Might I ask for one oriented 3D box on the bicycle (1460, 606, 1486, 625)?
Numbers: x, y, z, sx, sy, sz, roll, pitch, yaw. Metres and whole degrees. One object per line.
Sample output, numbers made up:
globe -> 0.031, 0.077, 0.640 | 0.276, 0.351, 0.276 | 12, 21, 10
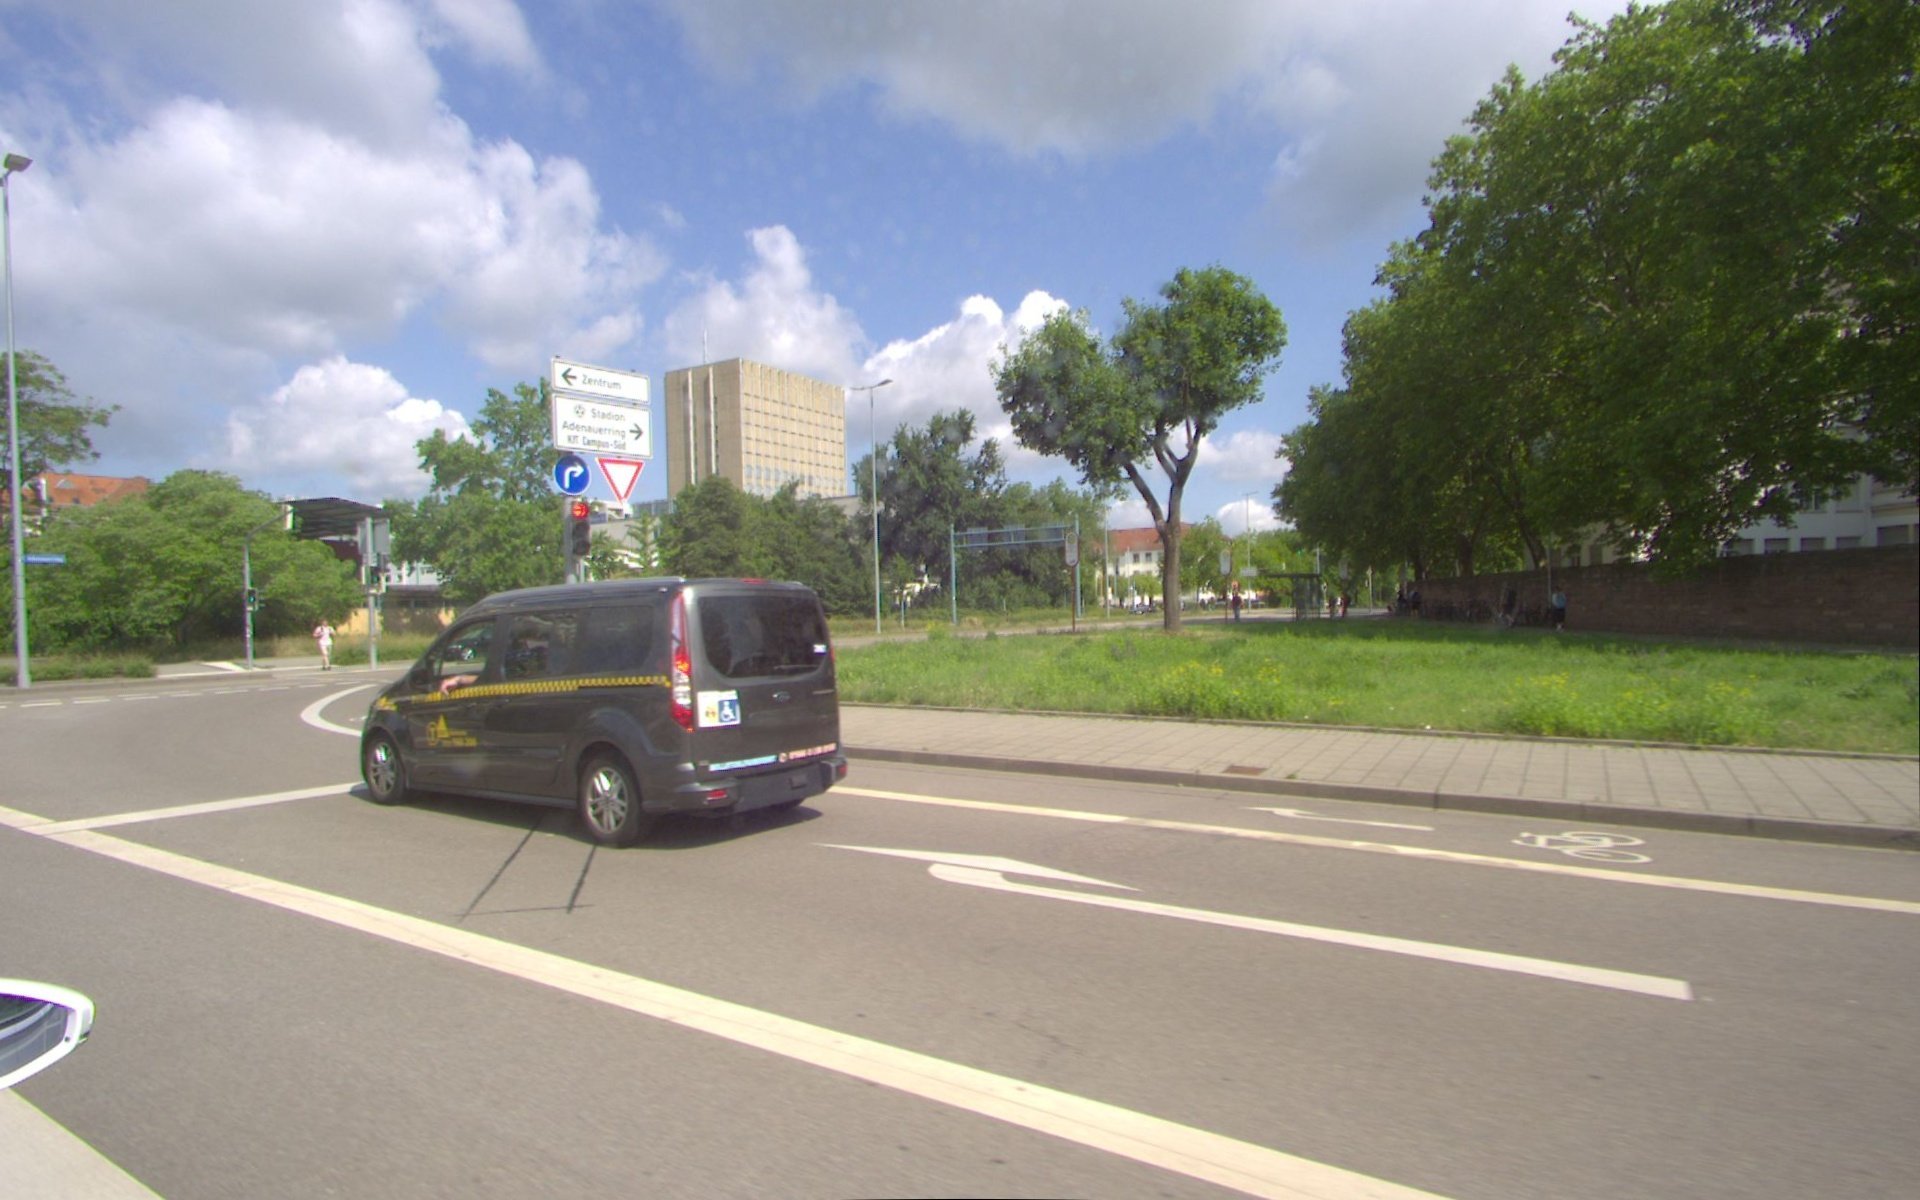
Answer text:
bicycle -> 23.923, 0.725, 46.685 | 0.955, 0.860, 0.482 | -1, 1, 11

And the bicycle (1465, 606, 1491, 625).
bicycle -> 23.822, 0.701, 46.041 | 0.955, 0.860, 0.482 | -1, 1, 11

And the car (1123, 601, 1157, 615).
car -> 17.950, 0.831, 99.673 | 1.774, 1.289, 3.973 | -1, 0, 36

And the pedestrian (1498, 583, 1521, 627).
pedestrian -> 21.996, 0.191, 40.090 | 0.651, 1.746, 0.742 | -1, 1, 13

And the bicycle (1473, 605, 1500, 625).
bicycle -> 23.556, 0.654, 44.826 | 0.955, 0.860, 0.482 | -1, 1, 11

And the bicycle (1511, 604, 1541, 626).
bicycle -> 22.756, 0.597, 40.273 | 0.955, 0.860, 0.482 | -1, 1, 11

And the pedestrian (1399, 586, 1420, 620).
pedestrian -> 24.152, 0.155, 53.808 | 0.871, 1.804, 0.769 | -1, 1, 17

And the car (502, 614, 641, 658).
car -> -15.296, 1.397, 39.620 | 2.037, 1.460, 4.747 | -4, -2, 37

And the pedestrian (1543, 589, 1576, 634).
pedestrian -> 21.551, 0.415, 36.009 | 0.712, 1.554, 0.724 | -2, 0, 4

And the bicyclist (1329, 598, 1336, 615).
bicyclist -> 33.339, 0.576, 89.653 | 0.552, 1.433, 0.604 | -1, 1, 28

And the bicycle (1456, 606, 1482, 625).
bicycle -> 24.006, 0.745, 47.234 | 0.955, 0.860, 0.482 | -1, 1, 11

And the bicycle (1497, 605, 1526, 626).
bicycle -> 22.912, 0.645, 41.585 | 0.955, 0.860, 0.482 | -1, 1, 11

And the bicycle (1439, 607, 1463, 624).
bicycle -> 24.565, 0.782, 50.100 | 0.955, 0.860, 0.482 | -1, 1, 11

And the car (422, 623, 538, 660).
car -> -20.940, 1.762, 43.803 | 1.972, 1.395, 4.135 | 0, 0, 34

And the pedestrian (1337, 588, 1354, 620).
pedestrian -> 22.599, 0.225, 58.733 | 0.739, 1.803, 0.766 | -2, 0, 32

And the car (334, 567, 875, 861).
car -> -3.064, 0.751, 8.223 | 4.608, 1.808, 1.844 | -1, -1, 34

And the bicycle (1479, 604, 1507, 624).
bicycle -> 23.466, 0.629, 44.092 | 0.955, 0.860, 0.482 | -1, 1, 11

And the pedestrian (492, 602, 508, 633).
pedestrian -> -24.031, 0.925, 52.276 | 0.534, 1.628, 0.522 | -1, -1, 29

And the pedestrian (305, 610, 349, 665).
pedestrian -> -22.639, 1.352, 35.841 | 1.161, 1.881, 0.697 | -4, 0, 22

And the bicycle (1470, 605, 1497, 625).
bicycle -> 23.712, 0.675, 45.370 | 0.955, 0.860, 0.482 | -1, 1, 11

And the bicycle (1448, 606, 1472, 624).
bicycle -> 24.251, 0.727, 48.571 | 0.955, 0.860, 0.482 | -1, 1, 11

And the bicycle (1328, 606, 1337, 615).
bicycle -> 33.342, 0.931, 89.656 | 0.541, 0.707, 1.584 | -1, 1, 28

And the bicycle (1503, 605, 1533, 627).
bicycle -> 22.807, 0.644, 40.957 | 0.955, 0.860, 0.482 | -1, 1, 11

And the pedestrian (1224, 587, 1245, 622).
pedestrian -> 14.304, 0.220, 52.146 | 0.739, 1.803, 0.961 | -2, 0, 31
